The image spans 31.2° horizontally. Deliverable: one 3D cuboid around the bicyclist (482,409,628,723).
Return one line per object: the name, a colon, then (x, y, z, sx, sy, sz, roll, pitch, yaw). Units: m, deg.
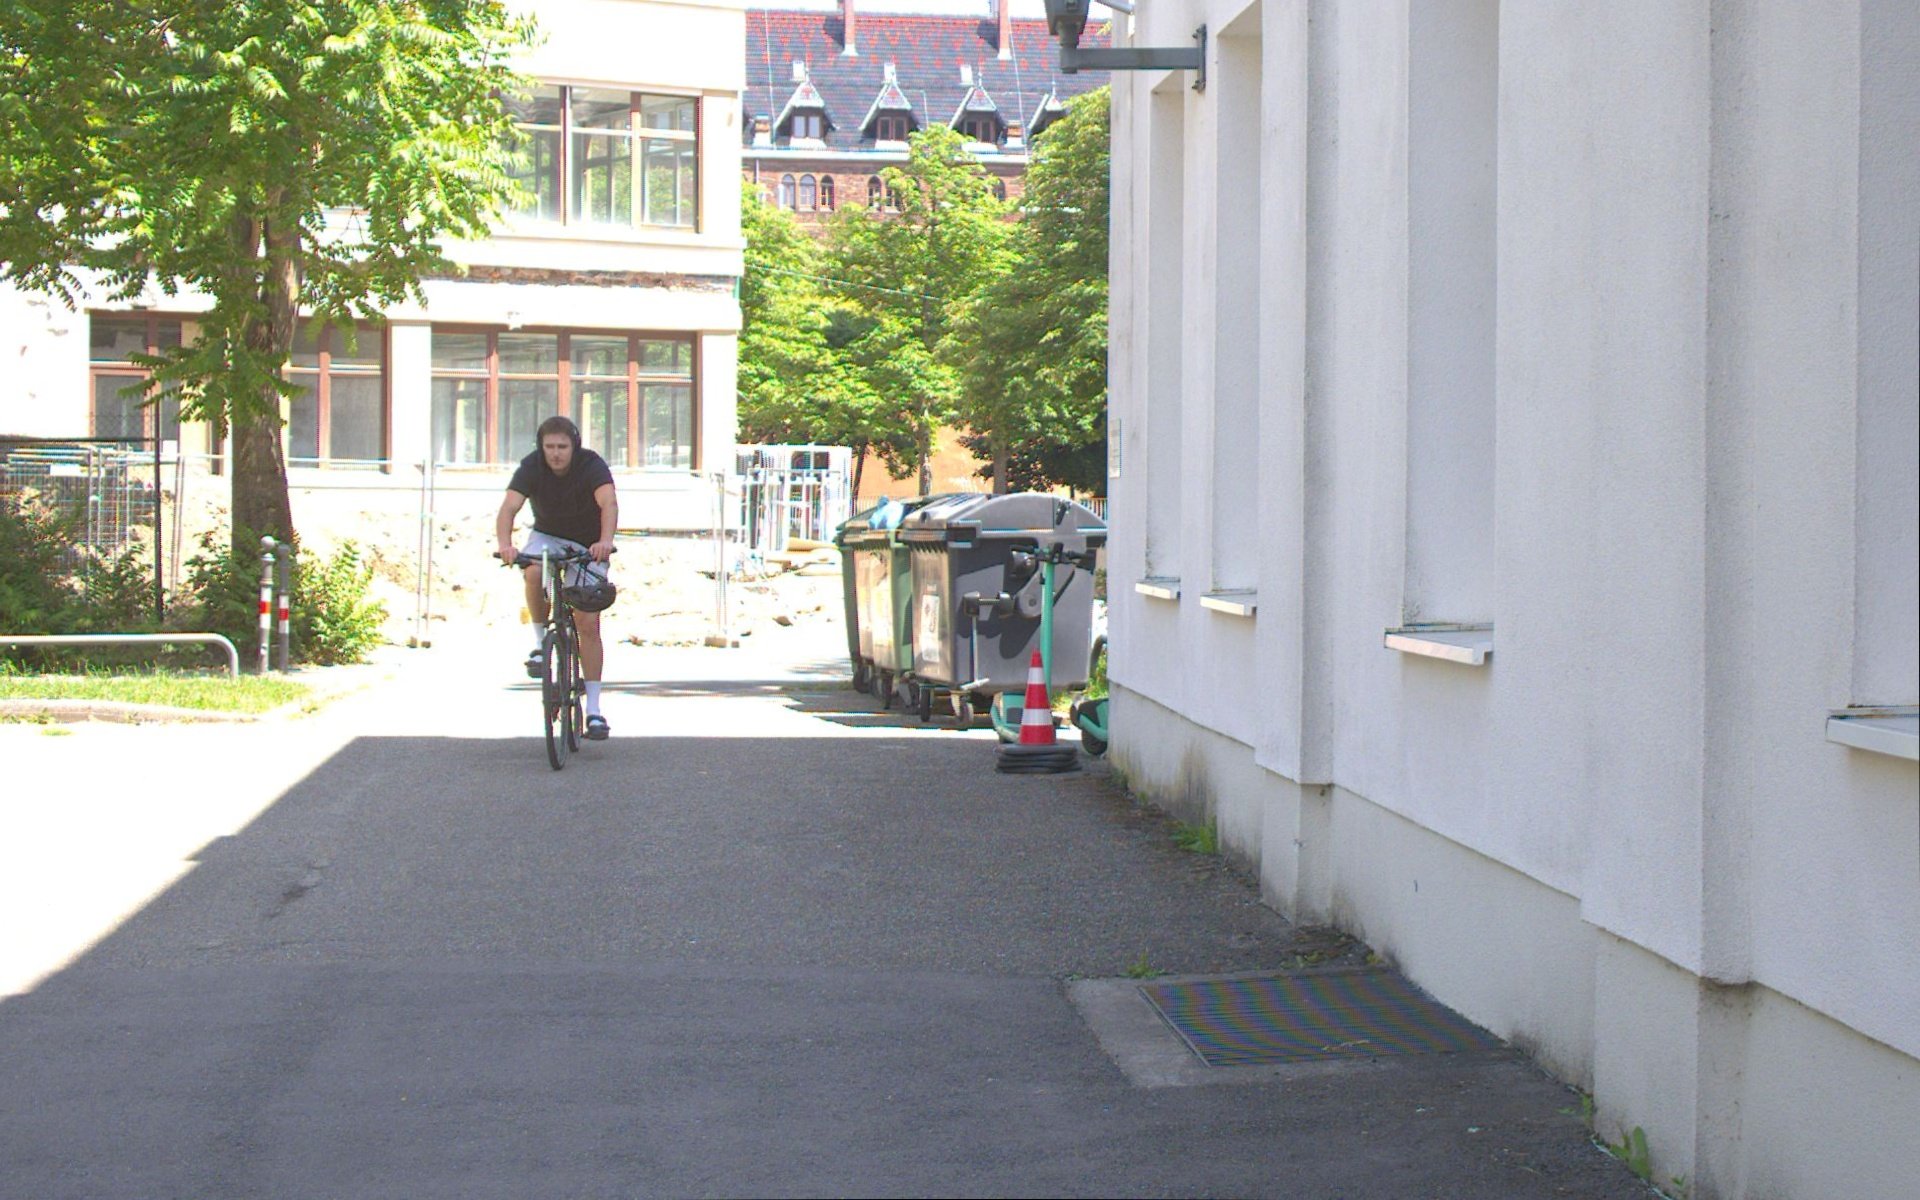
bicyclist: (-2.153, -0.187, 18.200, 0.722, 1.603, 0.978, 1, 2, -8)

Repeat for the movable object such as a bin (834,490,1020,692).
movable object such as a bin: (-0.265, -0.068, 25.818, 1.178, 1.465, 1.312, 1, 0, -10)

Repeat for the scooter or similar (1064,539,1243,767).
scooter or similar: (1.019, 0.261, 18.382, 0.463, 1.170, 1.256, 0, 1, -22)

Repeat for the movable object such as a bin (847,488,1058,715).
movable object such as a bin: (-0.067, 0.006, 22.999, 1.178, 1.465, 1.312, 1, 0, -11)

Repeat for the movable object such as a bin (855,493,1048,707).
movable object such as a bin: (-0.076, -0.007, 24.387, 1.178, 1.465, 1.312, 1, 0, -8)

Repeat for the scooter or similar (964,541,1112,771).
scooter or similar: (0.402, 0.278, 18.349, 0.463, 1.170, 1.357, 0, 1, -13)

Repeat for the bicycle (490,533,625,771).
bicycle: (-2.155, 0.246, 18.267, 0.643, 1.170, 1.905, 1, 2, -8)

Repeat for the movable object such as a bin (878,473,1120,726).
movable object such as a bin: (0.221, -0.006, 21.280, 1.154, 1.500, 1.463, 1, 0, -13)

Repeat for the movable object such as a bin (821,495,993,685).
movable object such as a bin: (-0.405, -0.085, 27.351, 1.179, 1.465, 1.332, 1, 0, 7)
